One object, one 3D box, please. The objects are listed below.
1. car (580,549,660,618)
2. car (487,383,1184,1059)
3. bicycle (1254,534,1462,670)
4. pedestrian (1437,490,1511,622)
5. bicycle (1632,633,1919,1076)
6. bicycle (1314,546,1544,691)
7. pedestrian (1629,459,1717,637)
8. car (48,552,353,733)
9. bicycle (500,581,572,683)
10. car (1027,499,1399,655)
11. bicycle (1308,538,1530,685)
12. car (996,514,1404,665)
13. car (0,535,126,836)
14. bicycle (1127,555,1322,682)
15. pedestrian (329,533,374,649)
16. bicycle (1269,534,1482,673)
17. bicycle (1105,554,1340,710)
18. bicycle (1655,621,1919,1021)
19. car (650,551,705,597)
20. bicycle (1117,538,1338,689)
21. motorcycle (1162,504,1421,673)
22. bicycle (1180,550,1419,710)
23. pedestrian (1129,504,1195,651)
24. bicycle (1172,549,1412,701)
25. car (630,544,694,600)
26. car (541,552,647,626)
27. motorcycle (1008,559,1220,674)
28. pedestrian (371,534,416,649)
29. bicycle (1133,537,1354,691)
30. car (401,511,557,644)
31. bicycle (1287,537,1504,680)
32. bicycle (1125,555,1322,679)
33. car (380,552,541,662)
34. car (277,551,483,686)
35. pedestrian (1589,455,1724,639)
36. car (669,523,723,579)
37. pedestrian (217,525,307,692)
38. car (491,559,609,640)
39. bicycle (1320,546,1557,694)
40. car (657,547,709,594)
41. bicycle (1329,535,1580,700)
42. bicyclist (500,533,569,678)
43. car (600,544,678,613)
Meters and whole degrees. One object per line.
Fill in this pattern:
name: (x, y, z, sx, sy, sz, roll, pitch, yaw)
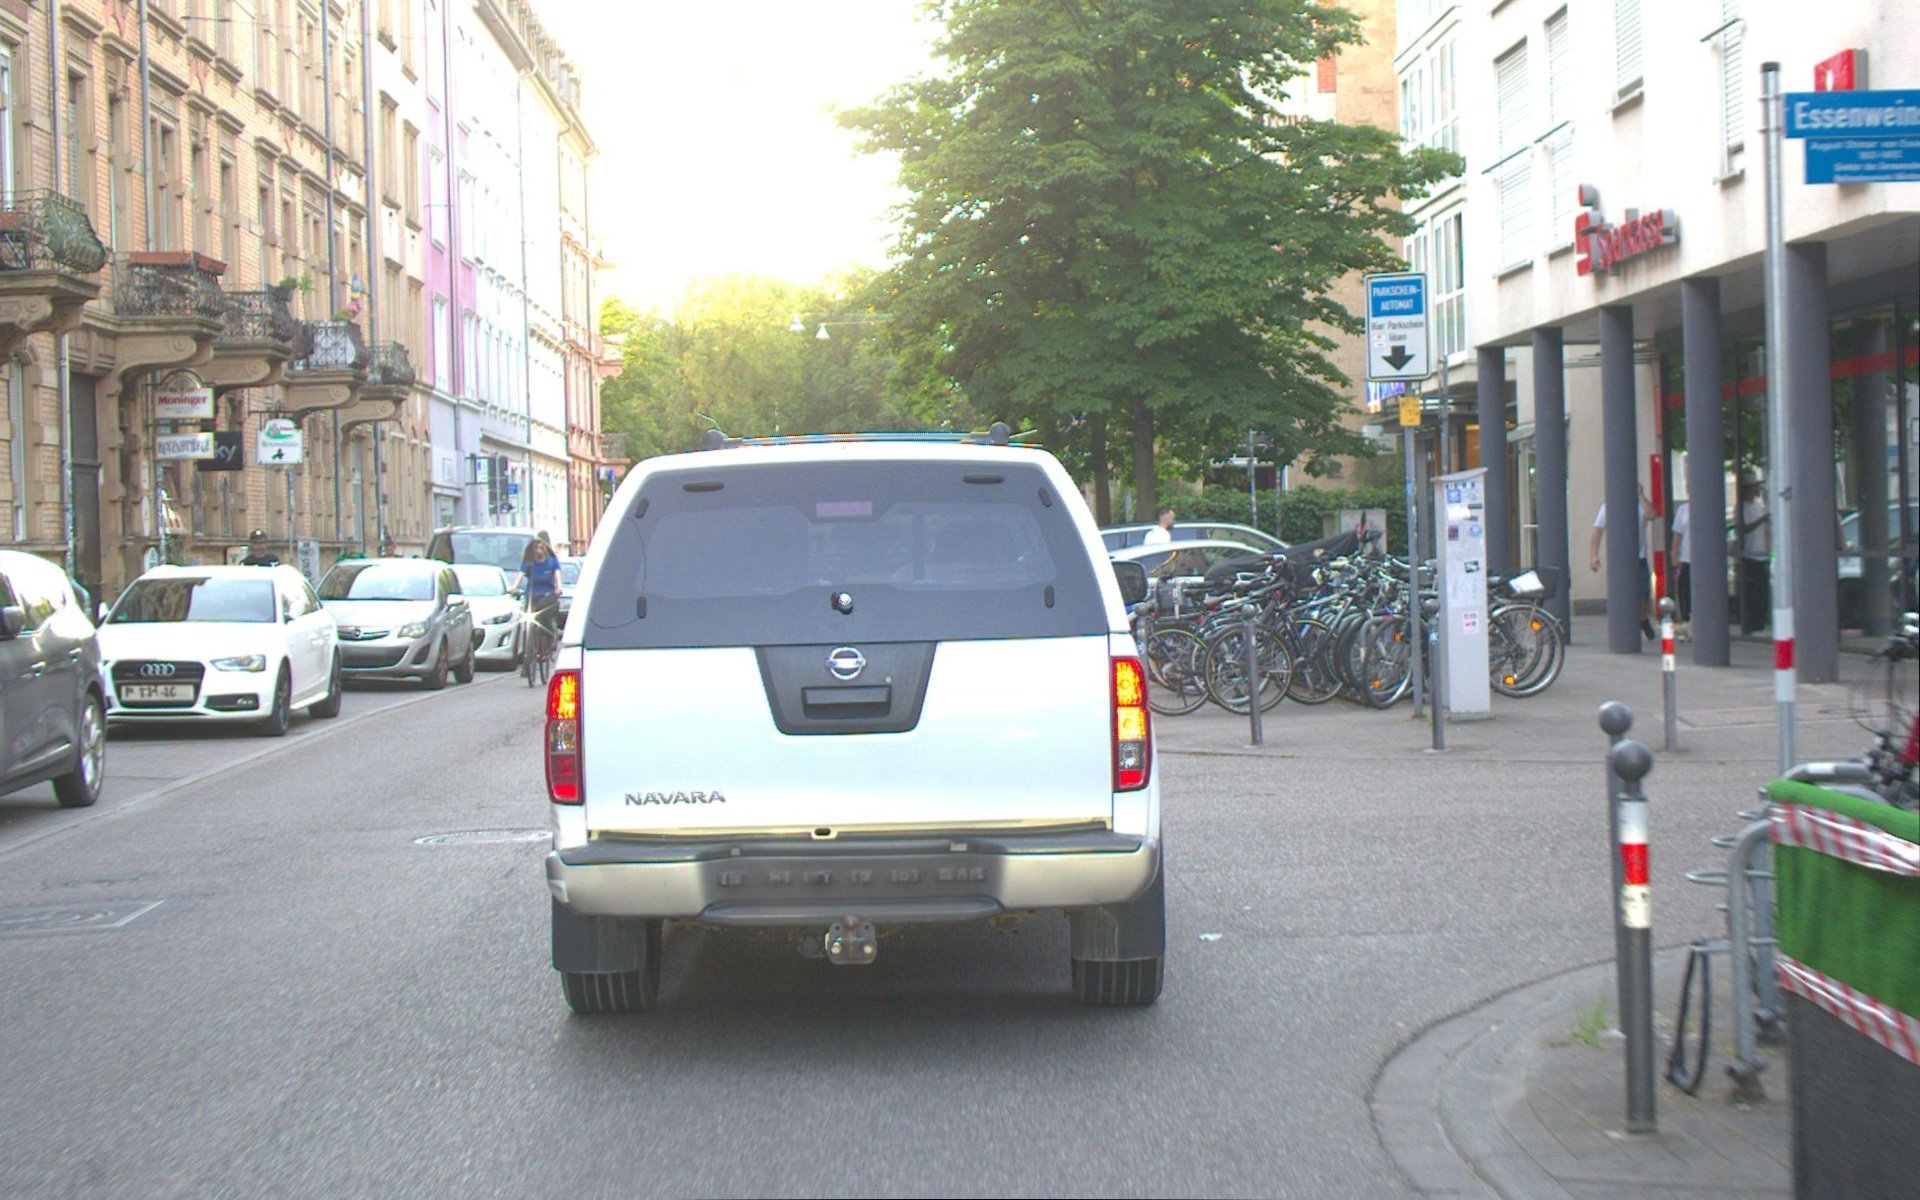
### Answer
car: (-7.917, -0.405, 80.333, 1.636, 1.560, 3.782, 0, 1, -2)
car: (-0.254, 0.292, 12.053, 1.911, 1.847, 5.270, 0, 1, 2)
bicycle: (3.606, 0.014, 31.225, 1.722, 1.114, 0.654, -4, 0, -4)
pedestrian: (6.882, -0.590, 46.083, 0.727, 1.710, 0.963, -4, 0, -1)
bicycle: (2.849, 0.653, 9.100, 1.942, 1.131, 0.656, -3, 1, 36)
bicycle: (3.768, 0.142, 27.697, 1.722, 1.050, 0.653, -4, 0, 2)
pedestrian: (7.090, -0.520, 34.168, 0.663, 1.717, 0.662, -1, 3, 26)
car: (-6.529, 0.313, 30.018, 1.758, 1.407, 4.509, 0, 1, -1)
bicycle: (-4.838, 0.347, 39.337, 0.644, 1.077, 2.169, -3, 1, -4)
car: (3.121, -0.297, 42.989, 4.398, 1.642, 1.746, -4, 1, -2)
bicycle: (3.840, 0.091, 28.856, 1.722, 1.114, 0.653, -4, 0, 2)
car: (2.776, -0.142, 40.219, 4.422, 1.450, 1.780, -4, 1, -7)
car: (-6.201, 0.462, 19.702, 1.853, 1.628, 4.446, 0, 1, -1)
bicycle: (2.486, 0.171, 32.430, 1.719, 1.028, 0.667, -5, 0, 2)
pedestrian: (-9.435, -0.151, 53.353, 0.580, 1.765, 0.998, 1, 2, -5)
bicycle: (3.678, 0.032, 30.505, 1.722, 1.114, 0.654, -4, 0, -4)
bicycle: (2.069, 0.248, 27.255, 1.722, 1.114, 0.707, -4, 0, -3)
bicycle: (3.102, 0.626, 10.046, 1.942, 1.131, 0.656, -3, 1, 36)
car: (-8.928, -0.827, 108.879, 1.698, 1.421, 4.023, 0, 1, -4)
bicycle: (2.408, 0.120, 31.056, 1.869, 1.178, 0.743, -5, 0, 4)
motorcycle: (3.376, -0.119, 35.221, 2.492, 1.544, 0.824, -4, 0, 2)
bicycle: (2.595, 0.223, 26.403, 1.722, 1.114, 0.707, -4, 0, 2)
pedestrian: (2.435, -0.271, 41.488, 0.625, 1.747, 0.588, -1, 0, -13)
bicycle: (2.699, 0.196, 28.061, 1.809, 1.114, 0.707, -4, 0, -3)
car: (-8.879, -0.850, 102.618, 1.698, 1.615, 4.022, 0, 1, -2)
car: (-7.560, -0.248, 71.317, 1.834, 1.453, 4.207, 1, 1, -1)
motorcycle: (1.614, 0.168, 36.095, 2.057, 1.074, 0.664, -4, 1, -16)
pedestrian: (-8.834, -0.135, 53.656, 0.605, 1.766, 0.777, 1, 2, -5)
bicycle: (2.498, 0.118, 30.215, 1.789, 1.178, 0.733, -5, 0, 9)
car: (-7.267, -0.370, 52.357, 1.993, 1.917, 4.952, 0, 1, -4)
bicycle: (3.718, 0.069, 29.424, 1.722, 1.114, 0.653, -4, 0, 2)
bicycle: (2.522, 0.159, 33.049, 1.772, 1.019, 0.565, -5, 0, 2)
car: (-6.793, 0.061, 47.126, 1.783, 1.418, 4.486, 1, 1, -3)
car: (-6.628, 0.173, 39.643, 1.717, 1.452, 4.000, 0, 1, 0)
pedestrian: (6.736, -0.509, 33.235, 0.774, 1.717, 0.913, -6, 3, -44)
car: (-9.454, -1.760, 122.939, 1.810, 1.970, 4.187, 0, 1, -6)
pedestrian: (-7.420, 0.092, 36.570, 0.554, 1.749, 1.022, -1, 0, 12)
car: (-7.376, -0.019, 62.211, 1.736, 1.413, 4.779, 0, 0, -2)
bicycle: (3.750, 0.152, 27.025, 1.722, 1.050, 0.653, -4, 0, 2)
car: (-9.225, -1.002, 114.801, 1.698, 1.547, 4.023, 0, 1, -4)
bicycle: (3.739, 0.127, 25.999, 1.722, 1.128, 0.579, -4, 0, -13)
bicyclist: (-4.859, 0.052, 39.344, 0.644, 1.615, 0.918, -3, 1, -4)
car: (-8.096, -0.554, 86.985, 1.844, 1.653, 4.253, -2, 1, -4)
